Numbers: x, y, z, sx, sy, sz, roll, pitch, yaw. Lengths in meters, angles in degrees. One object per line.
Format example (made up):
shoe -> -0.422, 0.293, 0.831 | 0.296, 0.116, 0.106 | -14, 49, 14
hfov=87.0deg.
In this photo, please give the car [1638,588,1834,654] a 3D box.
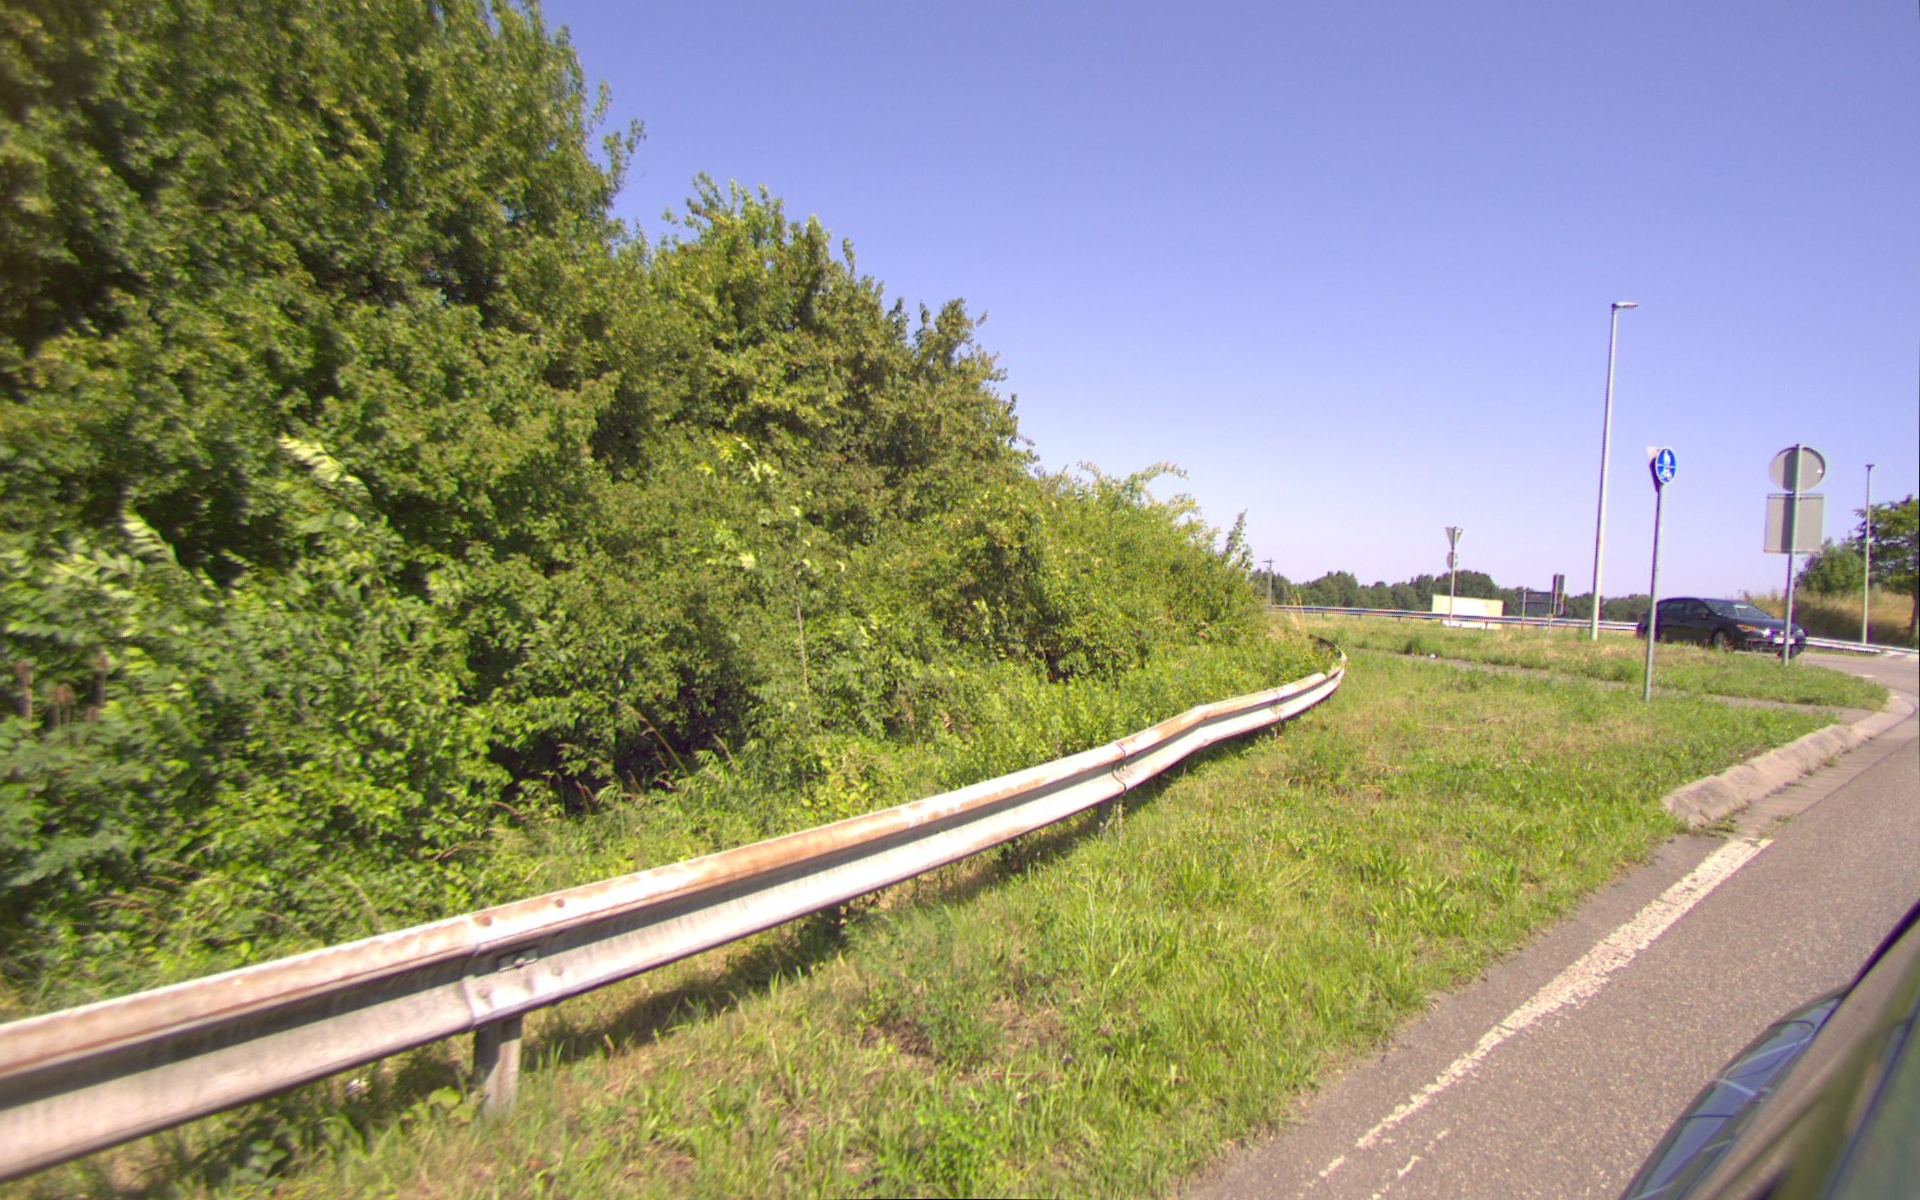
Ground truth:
car -> 19.803, 0.476, 26.099 | 1.774, 1.415, 4.180 | 3, 2, 0
